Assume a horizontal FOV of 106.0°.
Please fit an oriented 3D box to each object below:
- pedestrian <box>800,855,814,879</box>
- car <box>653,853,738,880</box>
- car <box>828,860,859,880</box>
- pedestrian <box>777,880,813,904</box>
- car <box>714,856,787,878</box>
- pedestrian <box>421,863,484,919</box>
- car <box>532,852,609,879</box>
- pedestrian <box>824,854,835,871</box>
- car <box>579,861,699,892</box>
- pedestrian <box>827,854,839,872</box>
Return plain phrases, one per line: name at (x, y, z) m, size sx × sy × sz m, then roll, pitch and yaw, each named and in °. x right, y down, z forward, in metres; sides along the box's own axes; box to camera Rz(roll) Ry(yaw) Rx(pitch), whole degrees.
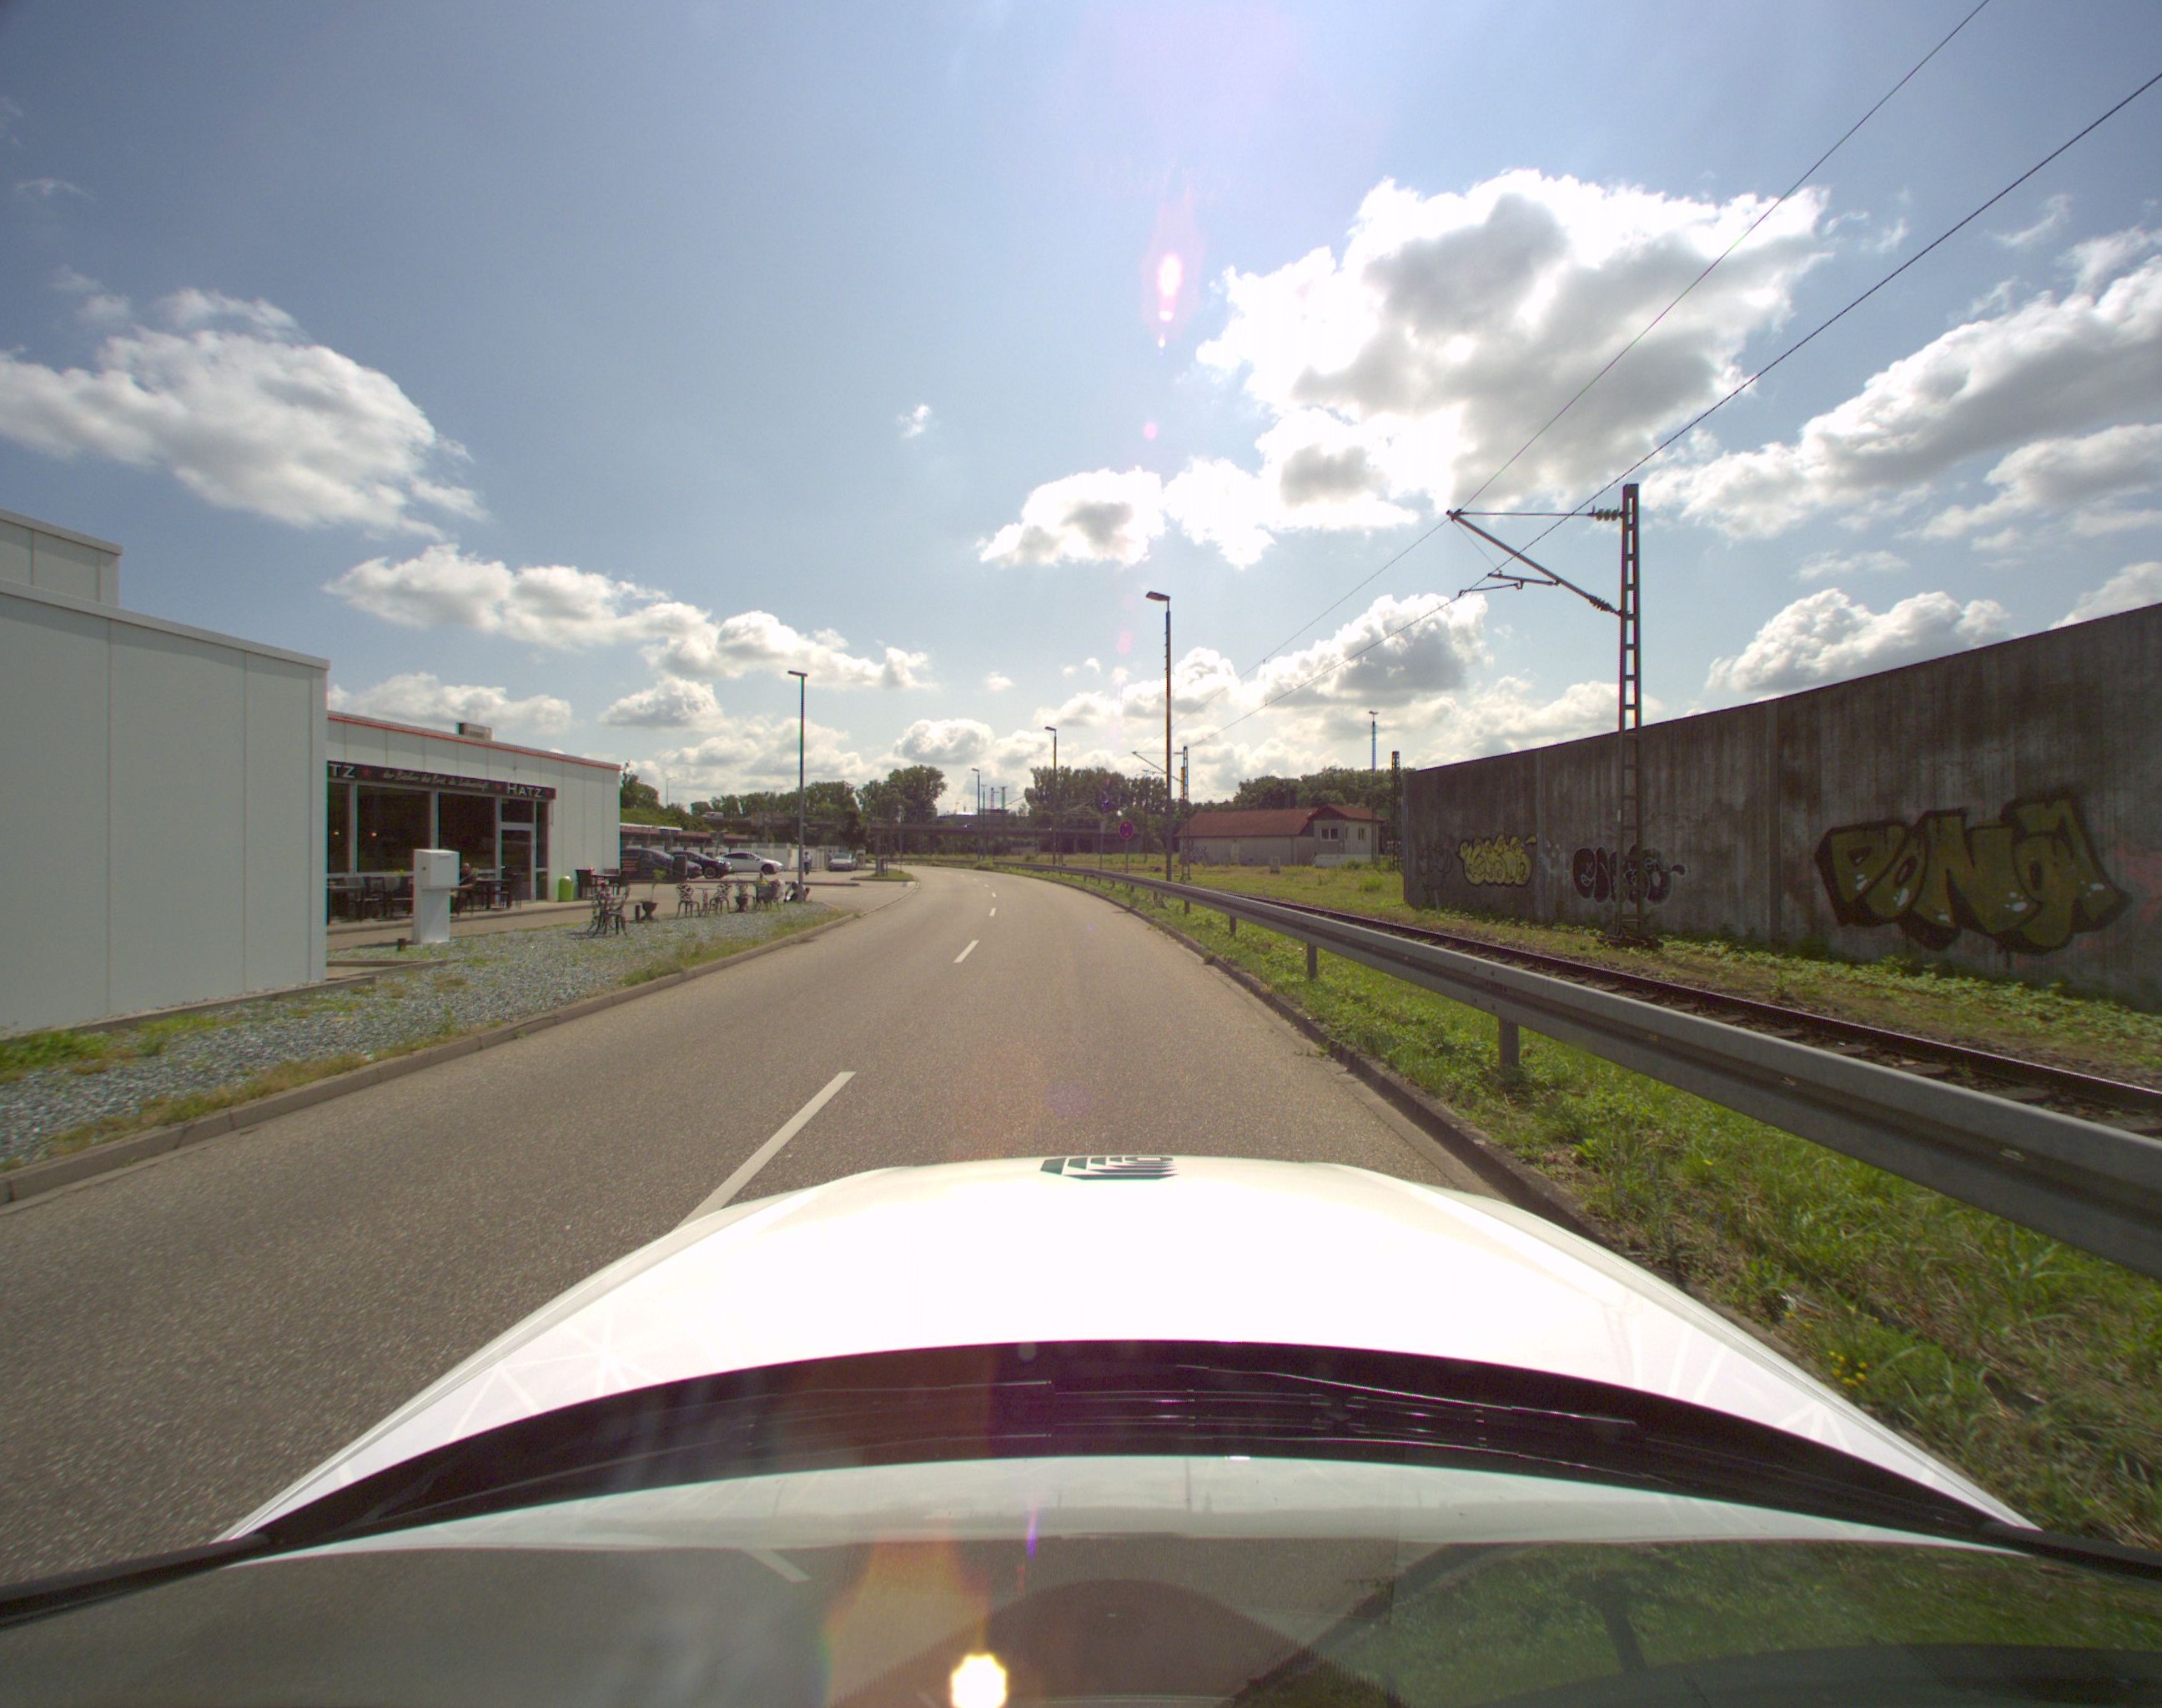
pedestrian at (-19.254, 0.903, 57.237) m, size 0.863 × 1.653 × 0.937 m, roll 0°, pitch -1°, yaw -12°
car at (-22.078, 0.706, 46.778) m, size 3.987 × 1.519 × 1.993 m, roll 0°, pitch -1°, yaw -10°
car at (-20.798, 1.353, 71.465) m, size 1.930 × 1.517 × 4.762 m, roll 0°, pitch 1°, yaw -8°
pedestrian at (-9.314, 1.241, 26.537) m, size 0.860 × 0.760 × 0.817 m, roll 0°, pitch -1°, yaw -1°
car at (-23.583, 0.934, 58.290) m, size 4.554 × 1.524 × 1.992 m, roll 0°, pitch -1°, yaw -12°
pedestrian at (-14.529, 0.841, 18.850) m, size 0.750 × 1.256 × 0.899 m, roll 0°, pitch 0°, yaw 2°
car at (-28.829, 0.642, 46.154) m, size 1.914 × 1.482 × 4.290 m, roll 0°, pitch -1°, yaw -6°
pedestrian at (-23.105, 0.783, 74.817) m, size 0.749 × 1.565 × 0.718 m, roll -1°, pitch -1°, yaw 37°
car at (-21.794, 1.085, 40.340) m, size 4.748 × 1.455 × 2.229 m, roll 0°, pitch 0°, yaw -12°
pedestrian at (-22.606, 0.827, 74.253) m, size 0.704 × 1.579 × 0.726 m, roll -1°, pitch -1°, yaw 28°
